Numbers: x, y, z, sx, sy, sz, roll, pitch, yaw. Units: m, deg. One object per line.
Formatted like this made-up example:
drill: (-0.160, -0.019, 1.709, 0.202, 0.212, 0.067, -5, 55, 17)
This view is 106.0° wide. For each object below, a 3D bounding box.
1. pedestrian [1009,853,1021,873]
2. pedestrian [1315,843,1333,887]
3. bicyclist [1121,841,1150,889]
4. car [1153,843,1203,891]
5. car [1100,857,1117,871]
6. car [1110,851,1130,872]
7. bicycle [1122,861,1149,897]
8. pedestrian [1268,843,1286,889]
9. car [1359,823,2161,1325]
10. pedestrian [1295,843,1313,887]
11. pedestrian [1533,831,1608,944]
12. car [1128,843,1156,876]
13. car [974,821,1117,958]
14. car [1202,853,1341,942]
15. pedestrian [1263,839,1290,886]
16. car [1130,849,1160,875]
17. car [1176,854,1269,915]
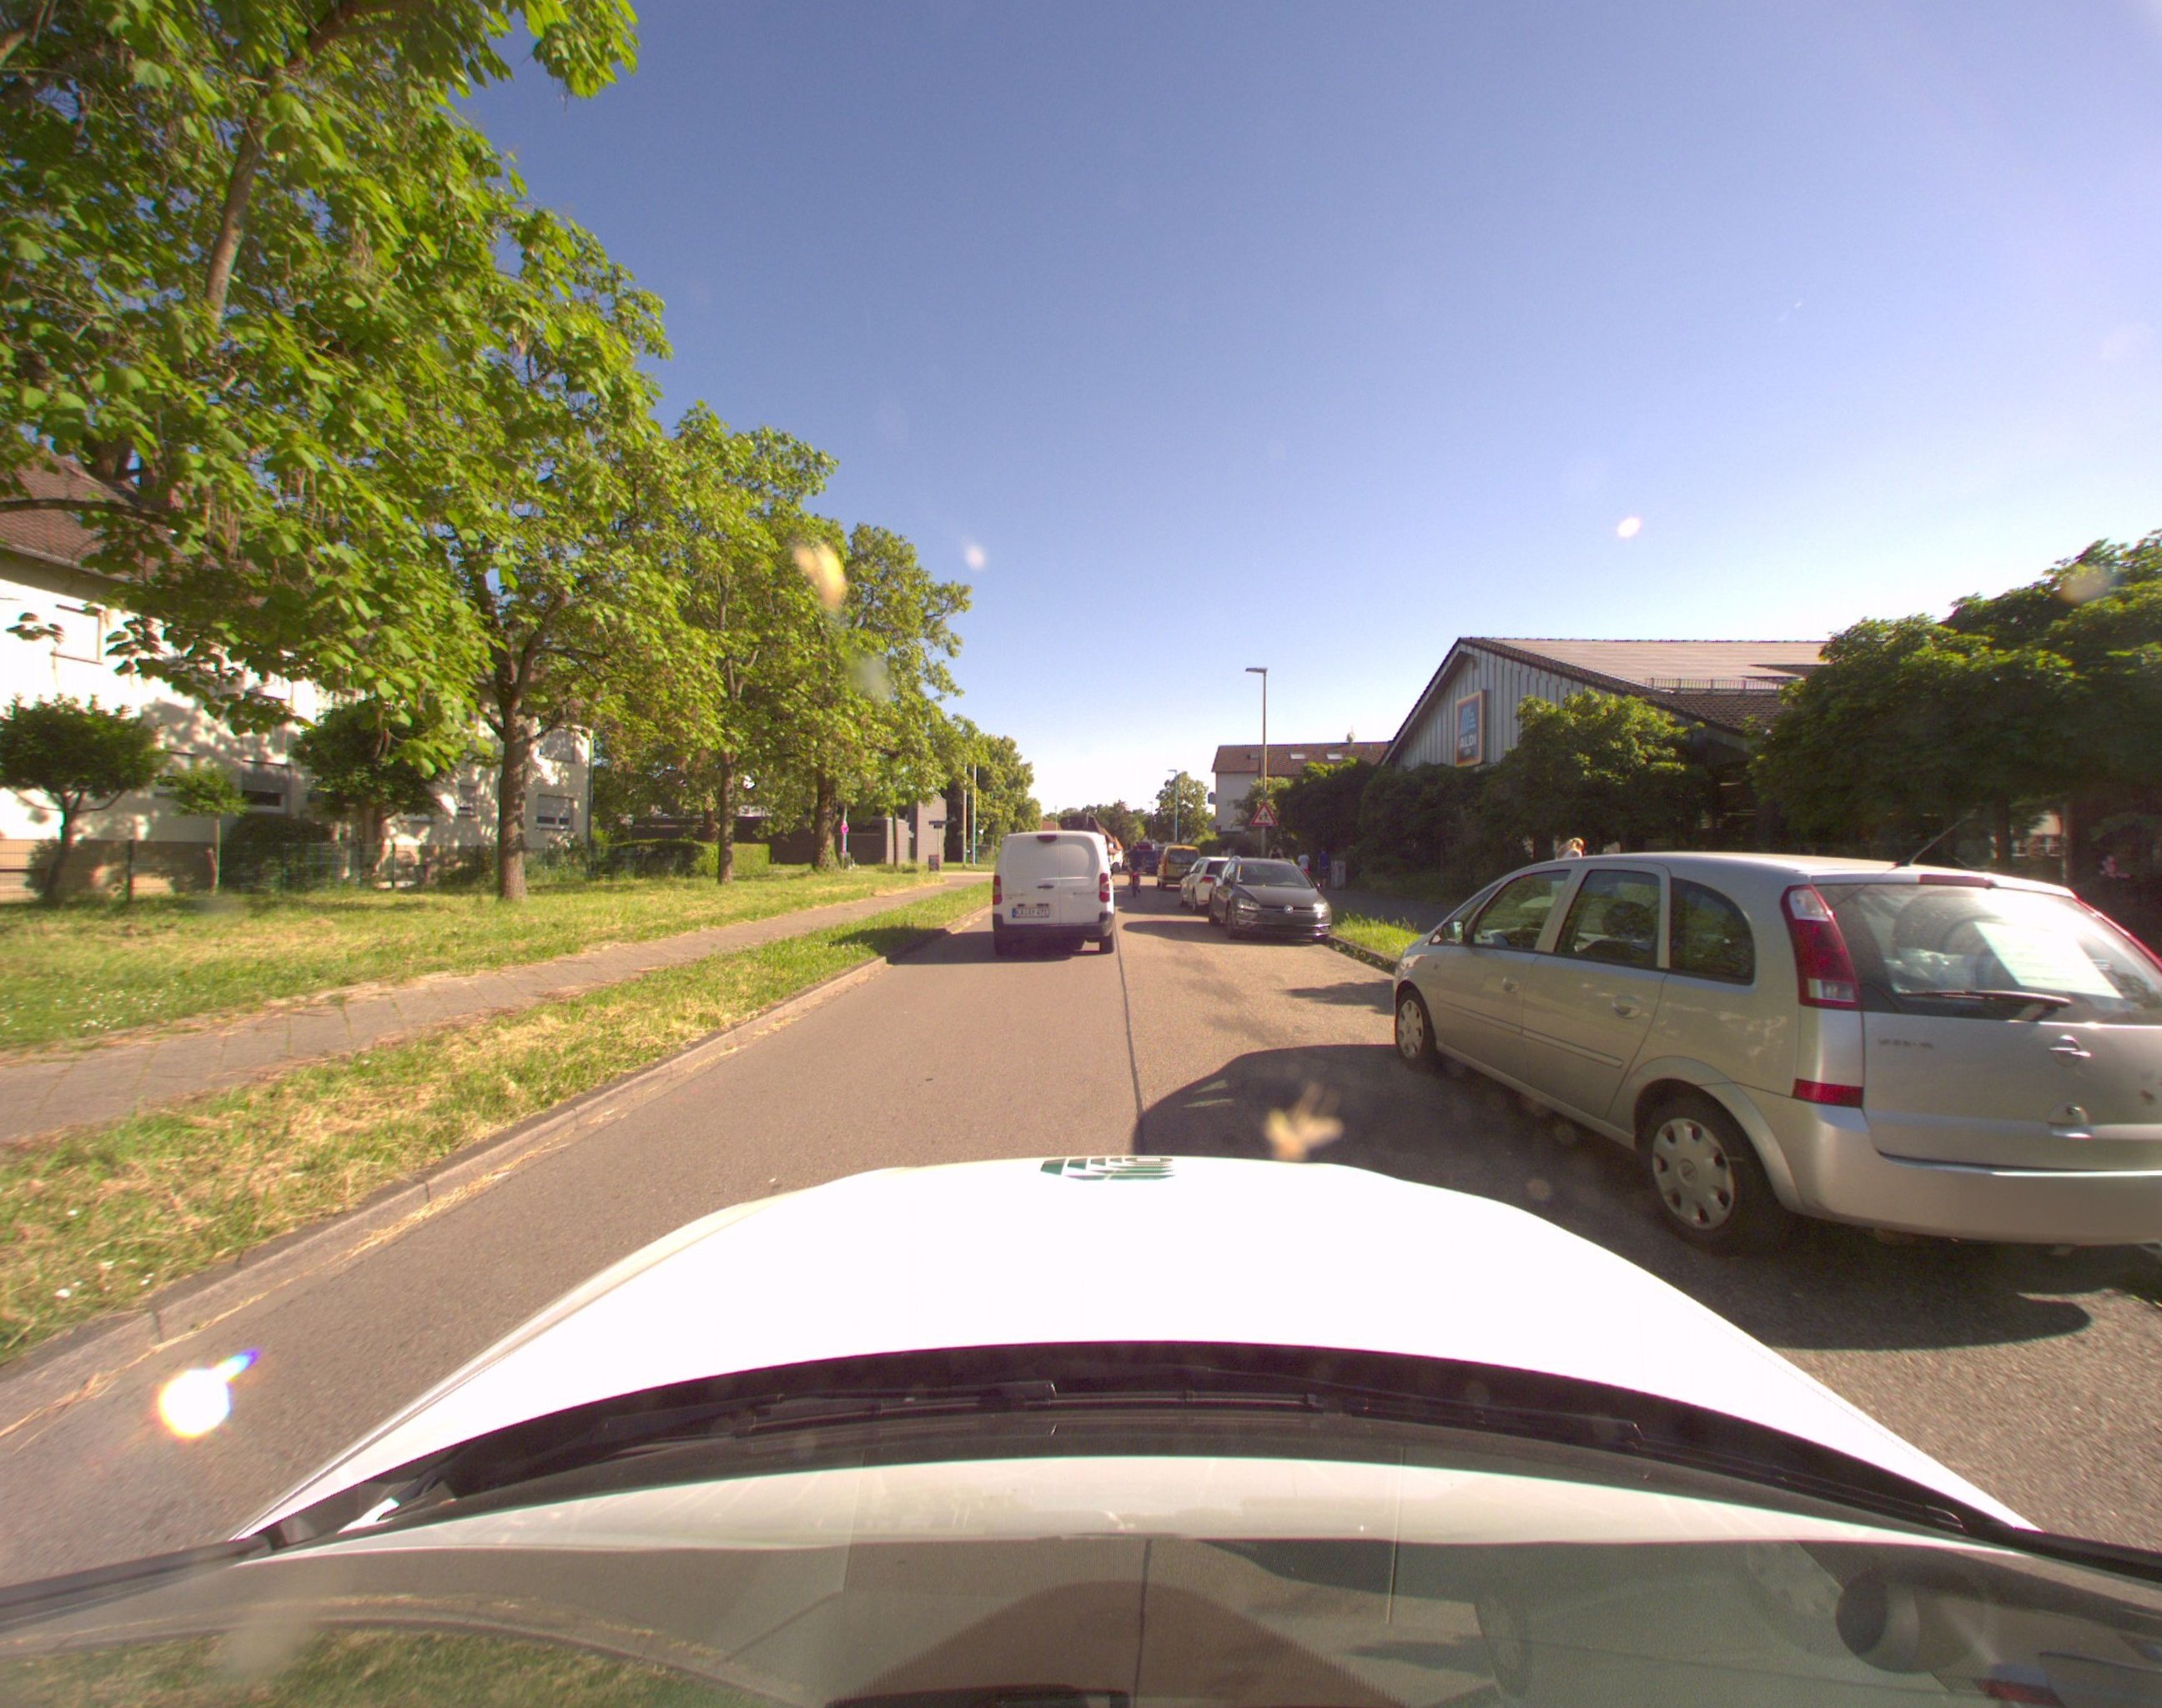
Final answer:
pedestrian: (-4.896, 0.658, 60.365, 0.505, 1.446, 0.643, 3, 0, 34)
pedestrian: (9.140, 0.409, 30.670, 0.564, 1.637, 0.547, 1, 0, 7)
bicyclist: (1.862, 0.372, 27.789, 0.902, 1.584, 0.966, 1, -1, 0)
car: (3.925, 0.513, 33.474, 1.717, 1.837, 4.002, 1, 0, 2)
car: (3.799, 1.384, 111.692, 1.794, 1.842, 4.008, 3, -1, 8)
car: (4.112, 0.780, 86.619, 1.798, 2.069, 3.999, 3, -1, 0)
bicycle: (1.842, 0.833, 27.827, 0.784, 1.138, 2.280, 1, 0, 1)
pedestrian: (6.949, 0.416, 28.878, 0.564, 1.637, 0.547, 1, 0, 7)
car: (3.227, 0.758, 4.712, 1.675, 1.599, 4.025, 3, 0, -2)
pedestrian: (8.398, 0.426, 30.735, 0.564, 1.637, 0.547, 1, 0, 7)
pedestrian: (7.992, 0.529, 13.329, 0.793, 1.782, 0.811, 0, 0, 9)
car: (5.014, 0.464, 67.092, 1.860, 2.562, 4.767, 3, -1, 0)
car: (-0.430, 0.480, 13.494, 1.986, 1.881, 4.290, 1, 0, 2)
car: (3.513, 0.728, 15.800, 1.800, 1.443, 4.365, 1, 0, 2)
pedestrian: (7.857, 0.330, 32.780, 0.792, 1.861, 0.872, 1, 0, -6)
car: (4.676, 0.592, 59.978, 1.798, 1.785, 3.999, 3, -1, 0)
car: (3.670, 0.748, 21.804, 1.820, 1.452, 4.000, 1, 0, 0)
